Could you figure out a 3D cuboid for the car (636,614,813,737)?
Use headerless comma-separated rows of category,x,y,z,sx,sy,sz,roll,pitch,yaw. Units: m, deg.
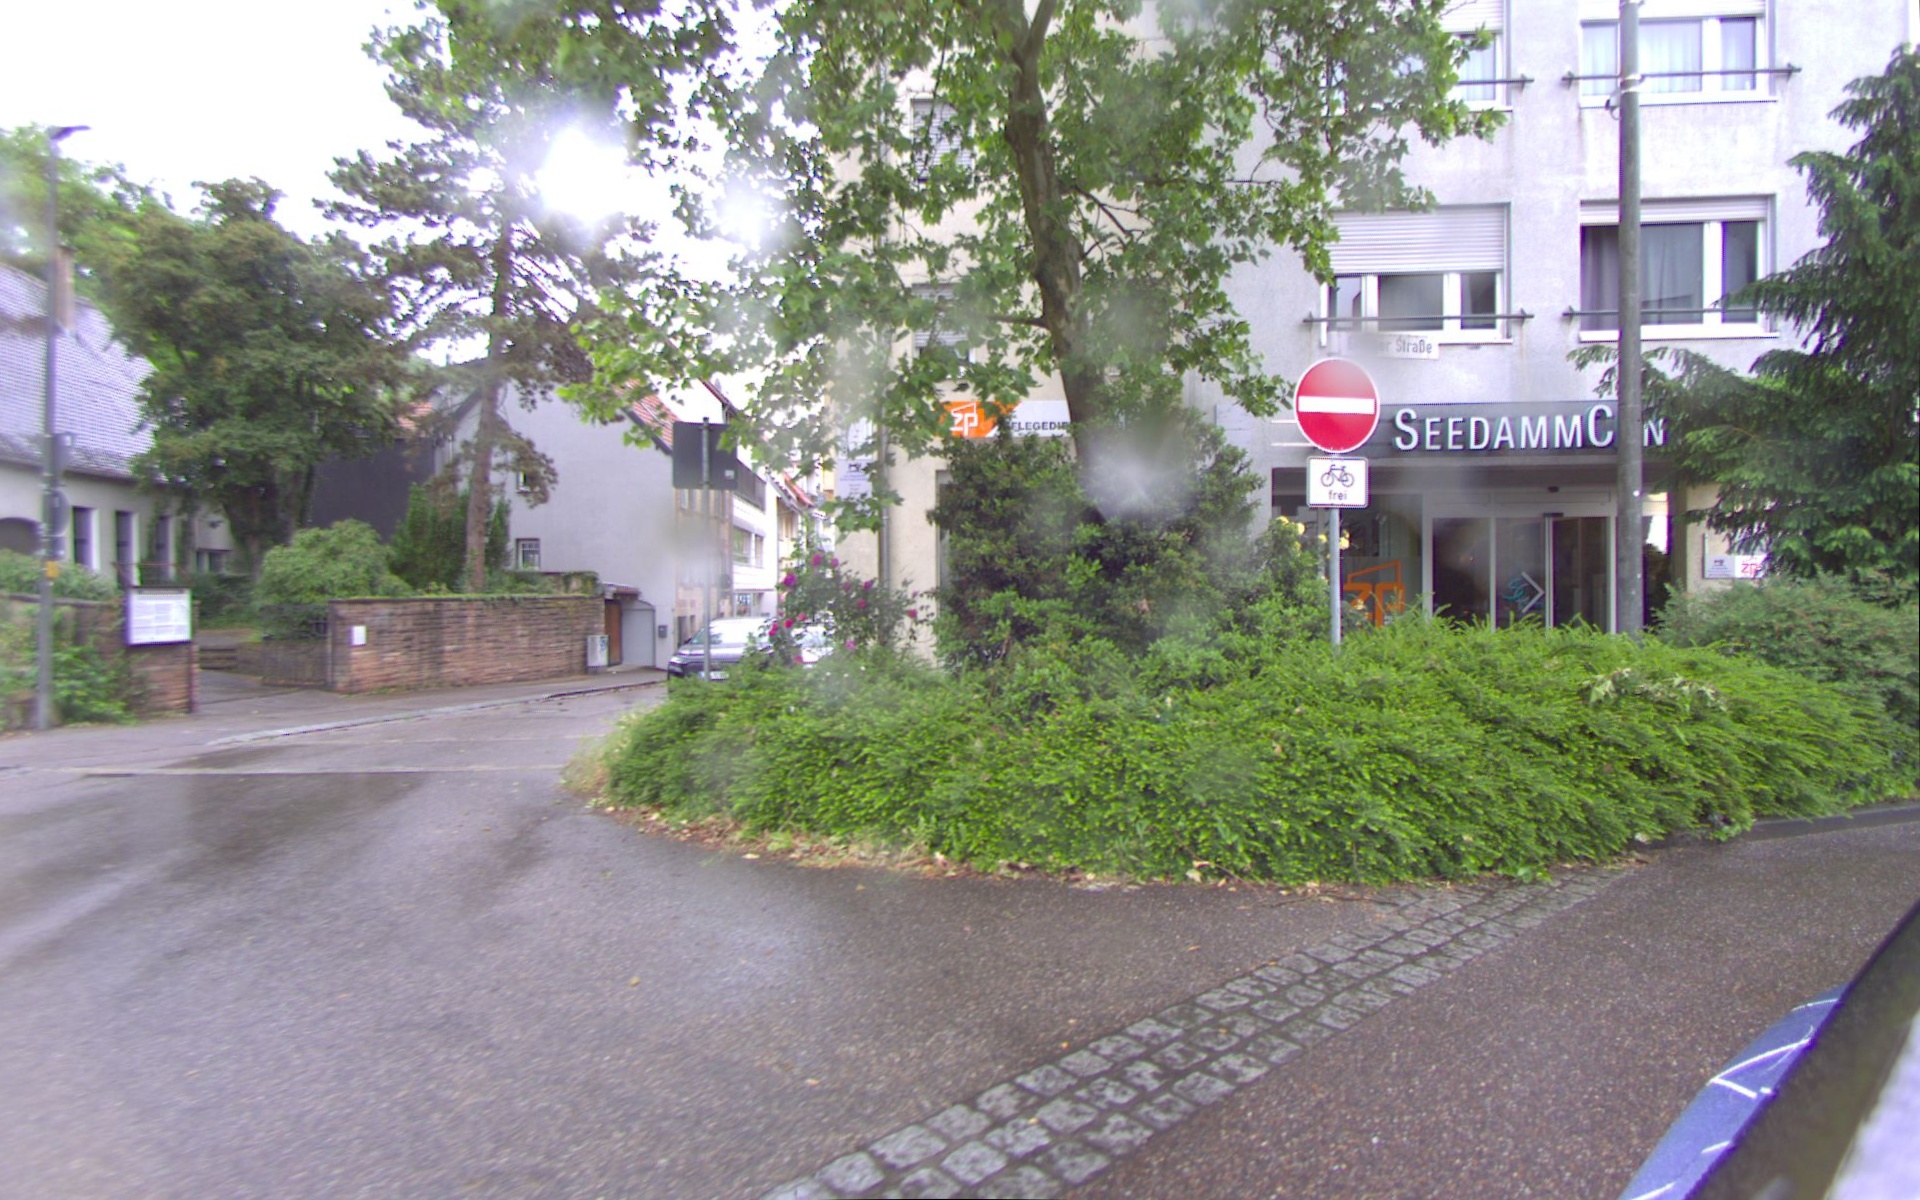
car,-4.057,1.225,18.157,1.964,1.671,3.997,6,1,2

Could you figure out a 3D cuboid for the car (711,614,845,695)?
car,-3.873,1.115,22.236,1.964,1.594,3.994,0,-1,5
